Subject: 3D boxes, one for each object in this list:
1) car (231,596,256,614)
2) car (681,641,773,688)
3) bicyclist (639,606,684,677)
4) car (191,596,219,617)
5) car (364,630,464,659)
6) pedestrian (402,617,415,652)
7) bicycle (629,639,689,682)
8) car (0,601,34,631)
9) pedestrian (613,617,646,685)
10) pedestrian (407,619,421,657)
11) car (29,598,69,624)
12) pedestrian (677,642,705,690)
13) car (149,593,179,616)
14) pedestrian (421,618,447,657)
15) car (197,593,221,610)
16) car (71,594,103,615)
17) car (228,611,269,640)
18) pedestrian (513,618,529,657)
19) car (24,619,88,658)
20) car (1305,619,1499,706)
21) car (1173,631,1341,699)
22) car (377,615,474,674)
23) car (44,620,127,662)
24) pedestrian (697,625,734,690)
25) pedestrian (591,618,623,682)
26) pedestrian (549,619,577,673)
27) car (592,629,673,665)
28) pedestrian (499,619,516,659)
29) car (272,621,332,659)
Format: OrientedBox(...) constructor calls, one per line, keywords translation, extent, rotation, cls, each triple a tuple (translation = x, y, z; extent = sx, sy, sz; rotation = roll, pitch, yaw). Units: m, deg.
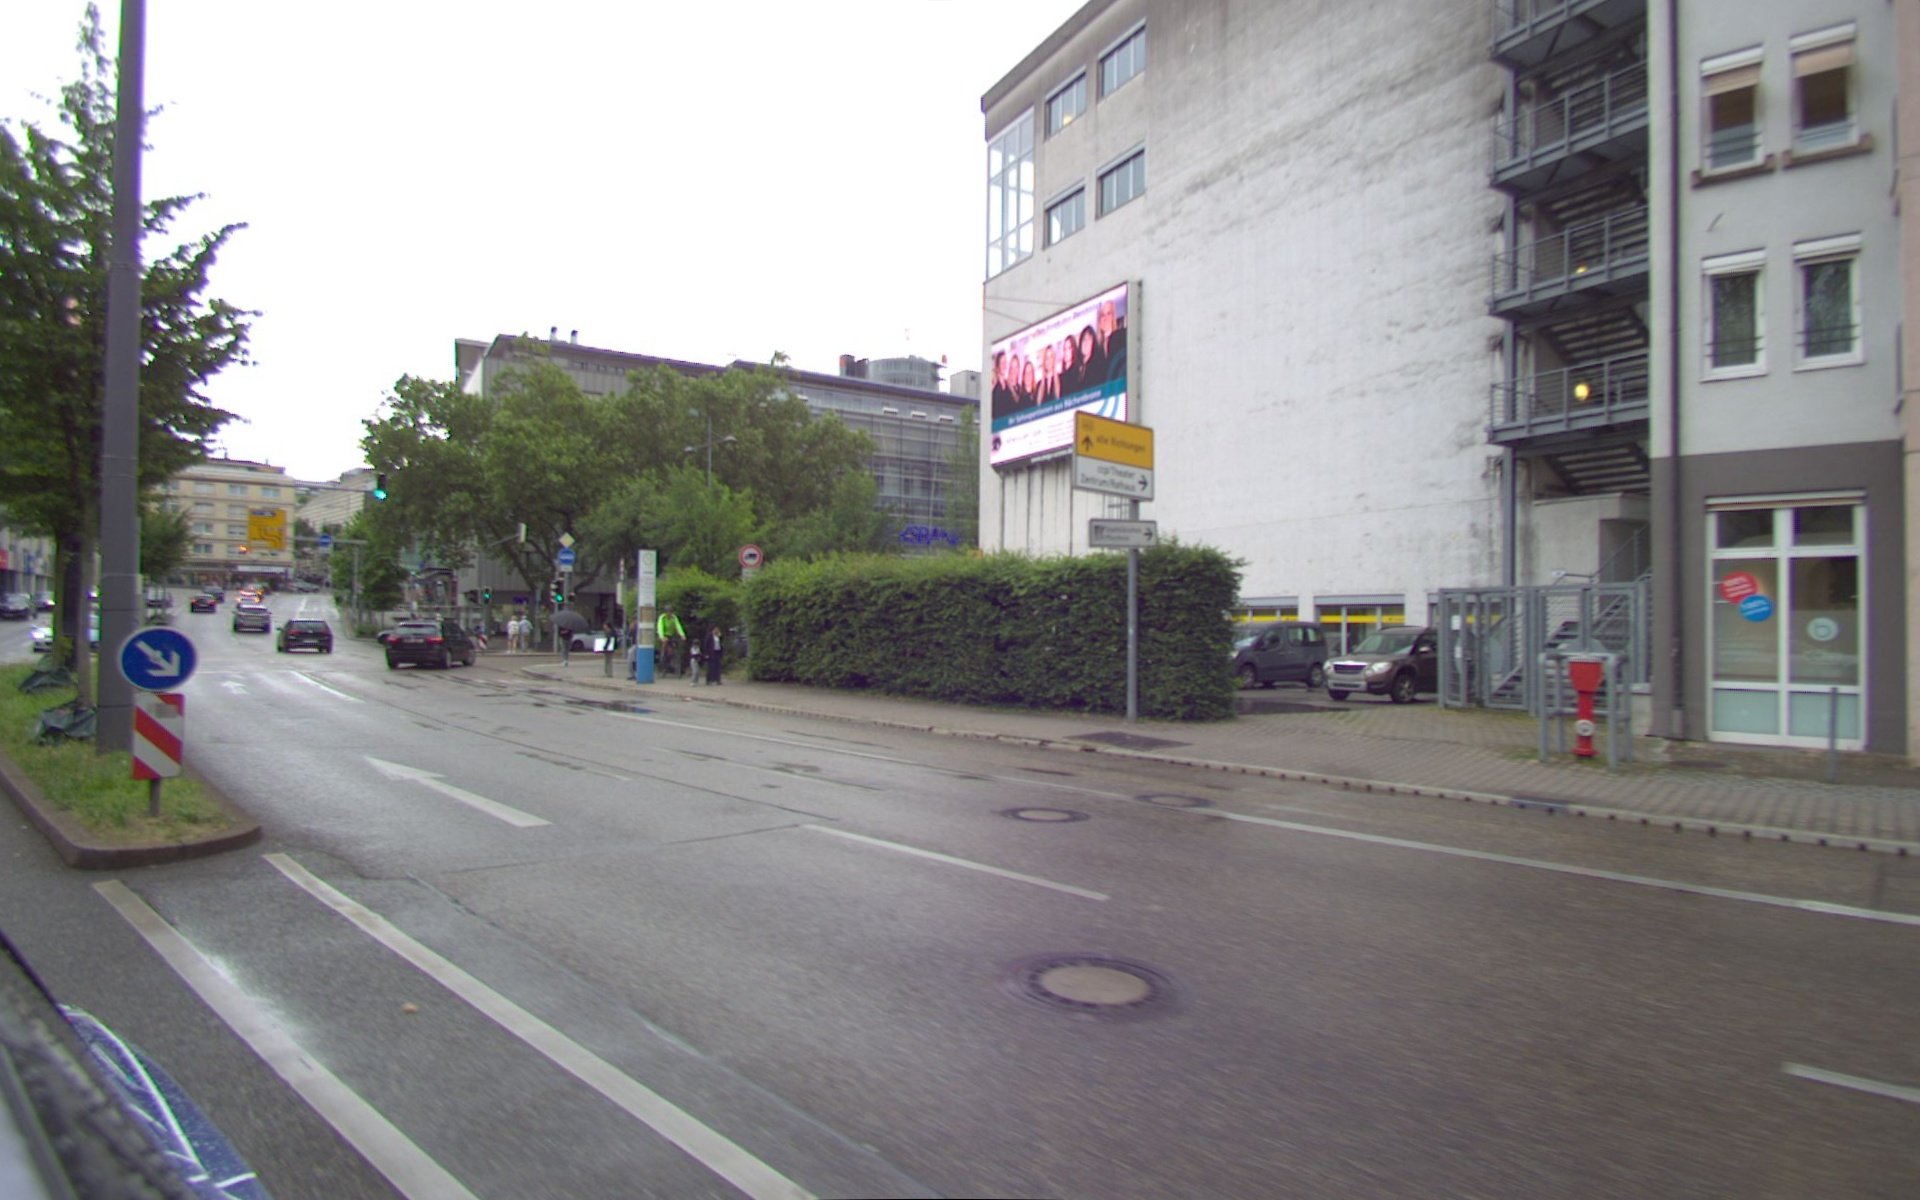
OrientedBox(translation=(-65.013, 0.473, 91.781), extent=(1.650, 1.527, 3.651), rotation=(4, -3, -37), cls="car")
OrientedBox(translation=(-8.199, 2.227, 35.469), extent=(1.576, 1.550, 3.604), rotation=(2, -3, -42), cls="car")
OrientedBox(translation=(-8.218, 1.139, 27.857), extent=(0.954, 1.904, 0.783), rotation=(-1, -3, 43), cls="bicyclist")
OrientedBox(translation=(-61.782, 0.541, 82.787), extent=(1.602, 1.567, 3.666), rotation=(3, -3, -39), cls="car")
OrientedBox(translation=(-29.635, 2.412, 55.042), extent=(4.360, 1.406, 1.935), rotation=(2, -2, -4), cls="car")
OrientedBox(translation=(-28.439, 1.794, 52.183), extent=(0.406, 1.777, 0.678), rotation=(2, -4, -39), cls="pedestrian")
OrientedBox(translation=(-8.326, 1.652, 27.946), extent=(2.059, 1.119, 0.643), rotation=(-1, -3, 45), cls="bicycle")
OrientedBox(translation=(-63.966, 1.063, 68.186), extent=(1.803, 1.749, 4.010), rotation=(3, 0, -36), cls="car")
OrientedBox(translation=(-8.896, 1.366, 27.257), extent=(0.643, 1.778, 0.584), rotation=(-2, -3, 42), cls="pedestrian")
OrientedBox(translation=(-27.718, 1.931, 51.395), extent=(0.441, 1.851, 0.677), rotation=(2, 0, -42), cls="pedestrian")
OrientedBox(translation=(-70.087, 0.837, 77.915), extent=(1.803, 1.749, 4.010), rotation=(3, 0, -36), cls="car")
OrientedBox(translation=(-6.673, 1.633, 25.137), extent=(0.502, 1.159, 0.463), rotation=(-2, -4, 44), cls="pedestrian")
OrientedBox(translation=(-68.322, 0.368, 86.912), extent=(1.803, 1.749, 4.010), rotation=(3, 0, -36), cls="car")
OrientedBox(translation=(-26.224, 1.872, 50.470), extent=(0.824, 1.921, 0.852), rotation=(0, -1, 29), cls="pedestrian")
OrientedBox(translation=(-73.309, 0.131, 98.736), extent=(1.691, 1.490, 3.966), rotation=(5, -3, -38), cls="car")
OrientedBox(translation=(-79.990, 0.381, 92.810), extent=(1.803, 1.749, 4.010), rotation=(3, 0, -36), cls="car")
OrientedBox(translation=(-44.906, 1.611, 63.826), extent=(1.804, 1.749, 4.319), rotation=(3, -2, -38), cls="car")
OrientedBox(translation=(-20.190, 1.715, 46.559), extent=(0.520, 1.778, 0.593), rotation=(2, -3, -39), cls="pedestrian")
OrientedBox(translation=(-36.824, 1.516, 41.299), extent=(1.743, 1.420, 4.007), rotation=(1, 0, -39), cls="car")
OrientedBox(translation=(9.699, 1.335, 22.193), extent=(3.931, 1.752, 1.960), rotation=(2, -3, -31), cls="car")
OrientedBox(translation=(7.798, 1.651, 26.547), extent=(3.992, 1.587, 1.961), rotation=(0, -1, -28), cls="car")
OrientedBox(translation=(-17.462, 1.461, 33.294), extent=(1.802, 1.749, 4.270), rotation=(3, -3, -15), cls="car")
OrientedBox(translation=(-32.594, 1.500, 37.708), extent=(3.686, 1.485, 1.679), rotation=(-1, -3, 39), cls="car")
OrientedBox(translation=(-6.096, 1.423, 25.232), extent=(0.565, 1.571, 0.706), rotation=(-2, -3, 44), cls="pedestrian")
OrientedBox(translation=(-9.941, 1.400, 28.478), extent=(0.528, 1.778, 0.622), rotation=(-1, -3, 40), cls="pedestrian")
OrientedBox(translation=(-13.372, 1.534, 34.081), extent=(0.639, 1.777, 0.593), rotation=(2, 0, -42), cls="pedestrian")
OrientedBox(translation=(-16.503, 2.388, 51.064), extent=(3.543, 1.709, 1.640), rotation=(3, -4, -37), cls="car")
OrientedBox(translation=(-20.594, 1.782, 46.051), extent=(0.520, 1.777, 0.593), rotation=(-2, 1, -39), cls="pedestrian")
OrientedBox(translation=(-28.365, 1.704, 43.586), extent=(1.735, 1.431, 4.105), rotation=(5, -3, -38), cls="car")
